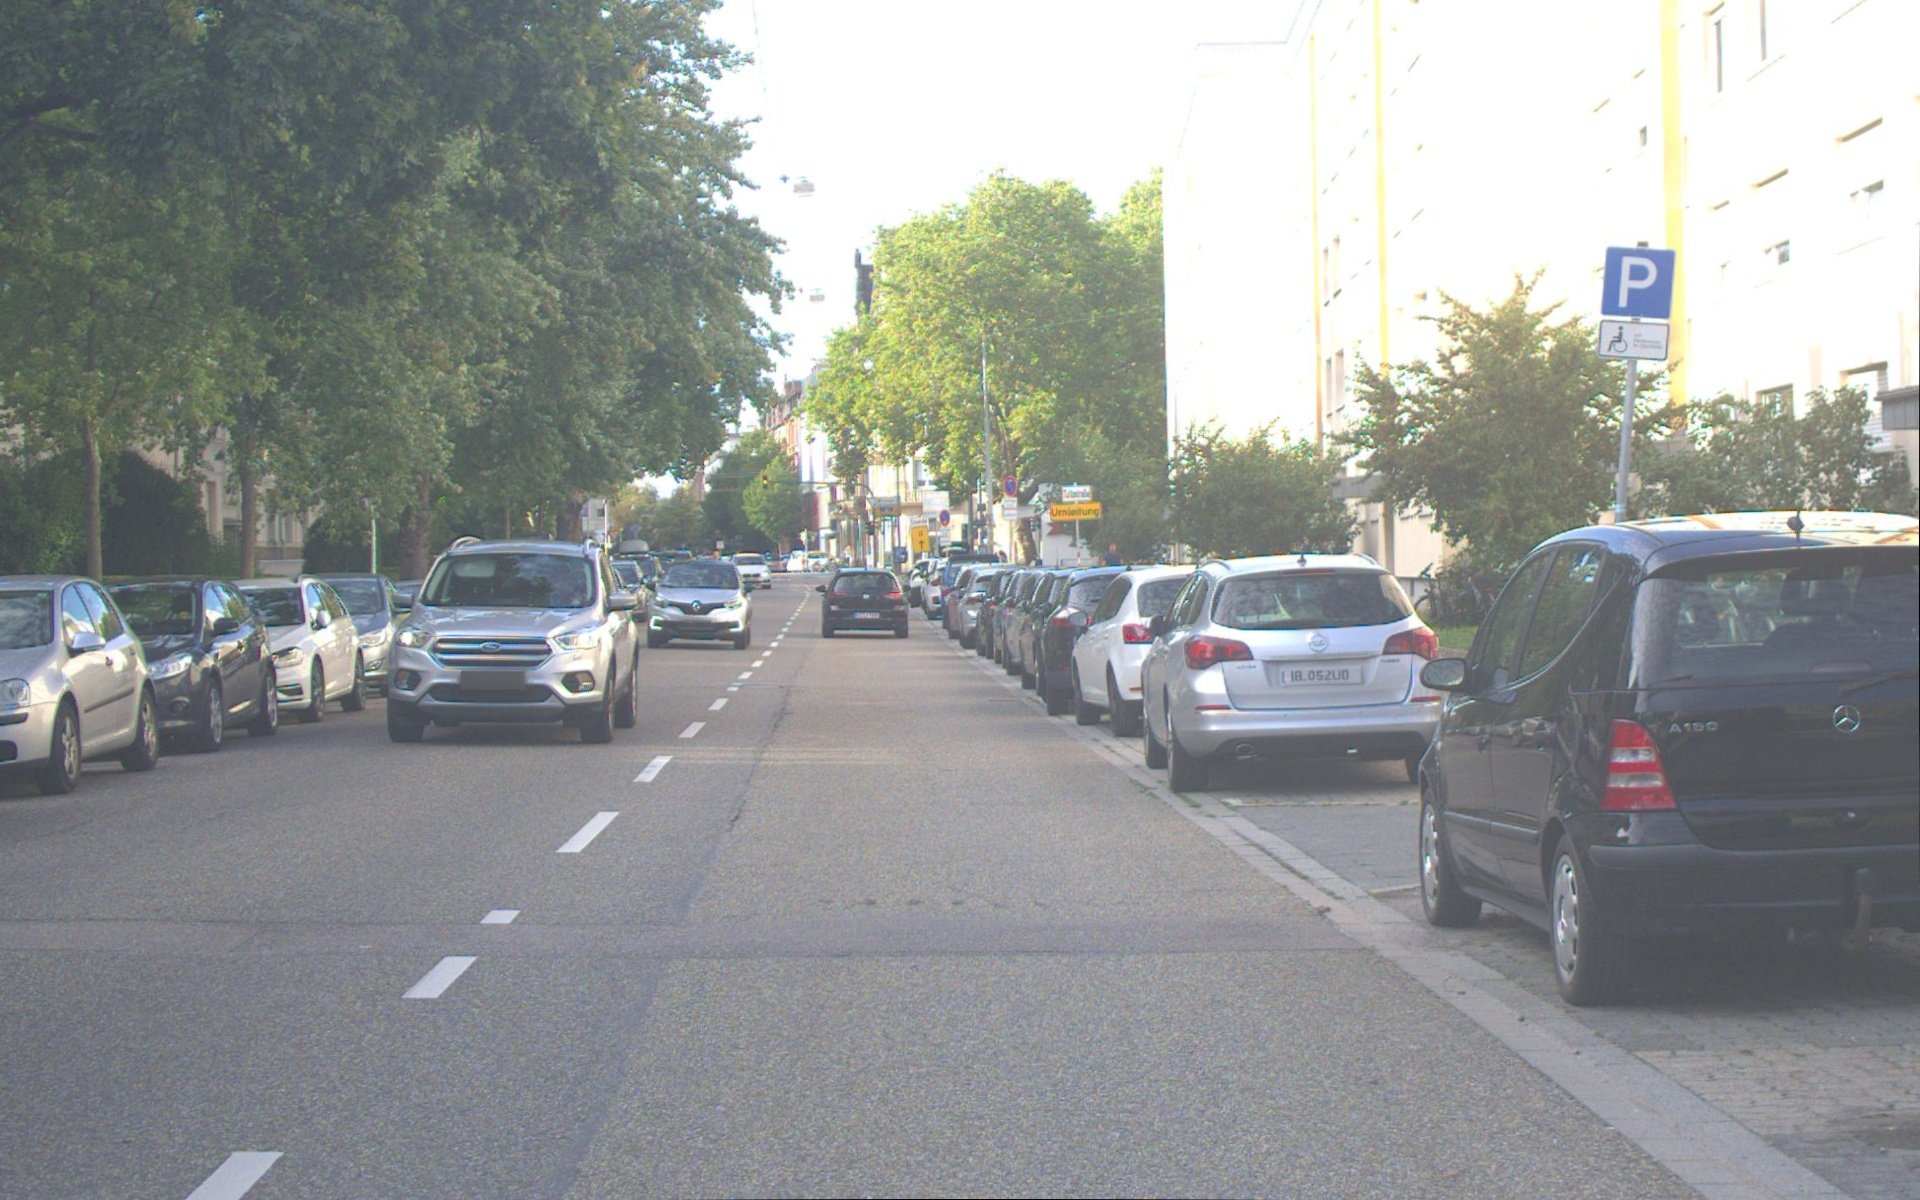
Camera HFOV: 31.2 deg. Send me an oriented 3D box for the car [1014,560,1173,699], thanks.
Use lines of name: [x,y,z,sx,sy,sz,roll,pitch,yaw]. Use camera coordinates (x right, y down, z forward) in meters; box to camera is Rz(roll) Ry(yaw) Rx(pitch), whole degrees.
car: [1.528,0.308,40.414,1.683,1.496,3.874,-2,1,0]

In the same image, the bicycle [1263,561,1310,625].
bicycle: [6.907,-0.160,72.792,0.595,1.286,2.635,-3,1,-2]

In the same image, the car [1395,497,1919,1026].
car: [2.679,0.466,12.559,1.673,1.597,3.970,-2,1,1]

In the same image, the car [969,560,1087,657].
car: [1.087,0.117,56.707,1.661,1.486,3.942,-2,1,-2]

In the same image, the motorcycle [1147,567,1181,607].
motorcycle: [5.386,-0.353,90.945,0.630,1.041,2.394,-2,1,-3]

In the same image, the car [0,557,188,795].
car: [-6.746,0.488,23.908,1.820,1.481,4.369,-3,1,-1]

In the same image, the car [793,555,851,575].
car: [-10.042,-2.540,250.525,3.986,1.415,2.001,-1,1,-9]

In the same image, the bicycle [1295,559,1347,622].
bicycle: [7.631,-0.203,72.813,0.726,1.286,2.635,-1,1,-2]

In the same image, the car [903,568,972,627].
car: [-0.594,-0.086,89.410,1.728,1.482,4.642,-1,1,-1]

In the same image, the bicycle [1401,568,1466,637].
bicycle: [7.406,0.030,53.828,0.593,1.027,2.119,-3,1,-2]

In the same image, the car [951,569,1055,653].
car: [0.754,0.179,62.987,1.661,1.411,4.059,-2,1,-2]

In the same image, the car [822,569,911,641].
car: [-1.956,0.085,71.140,1.751,1.409,4.001,0,1,-3]

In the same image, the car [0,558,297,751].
car: [-6.973,0.401,29.304,1.855,1.481,4.684,-1,1,-2]

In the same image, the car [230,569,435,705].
car: [-7.563,0.402,41.838,1.855,1.481,4.684,-2,1,-3]

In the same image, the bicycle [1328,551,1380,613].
bicycle: [8.343,-0.388,72.893,0.726,1.286,2.635,0,0,-2]

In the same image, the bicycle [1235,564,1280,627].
bicycle: [6.300,-0.106,72.798,0.604,1.286,2.635,-2,1,-2]

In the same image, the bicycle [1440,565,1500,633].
bicycle: [7.994,-0.021,53.949,0.501,1.027,2.096,-3,1,-2]

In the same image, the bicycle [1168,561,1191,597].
bicycle: [7.032,-0.680,110.241,0.529,1.111,2.209,-2,1,-2]

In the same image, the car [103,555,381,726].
car: [-7.145,0.348,34.689,1.855,1.481,4.799,-4,1,-2]

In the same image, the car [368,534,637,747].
car: [-3.819,0.300,29.320,1.829,1.663,4.085,-1,1,-2]

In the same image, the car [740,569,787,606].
car: [-8.572,-0.550,150.120,1.859,1.523,4.011,0,1,-1]

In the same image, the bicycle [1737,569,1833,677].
bicycle: [8.557,0.246,35.709,0.521,1.071,1.591,-2,-1,-2]

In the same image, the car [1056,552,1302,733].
car: [1.894,0.326,30.876,1.683,1.463,4.207,-2,1,-3]

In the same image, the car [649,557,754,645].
car: [-4.597,-0.005,61.564,1.740,1.496,4.010,-1,1,-3]

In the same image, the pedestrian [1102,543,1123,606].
pedestrian: [4.231,-0.718,95.444,0.542,1.715,0.771,-2,0,3]

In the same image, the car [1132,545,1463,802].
car: [2.162,0.417,23.083,1.763,1.518,4.330,-2,1,0]

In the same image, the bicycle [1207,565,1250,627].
bicycle: [5.666,-0.091,72.772,0.604,1.286,2.635,-1,1,-2]

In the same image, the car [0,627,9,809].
car: [-6.604,0.577,18.504,1.927,1.481,4.421,-3,1,-4]

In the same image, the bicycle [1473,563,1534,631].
bicycle: [8.515,-0.057,53.958,0.501,1.027,2.069,-3,1,-2]

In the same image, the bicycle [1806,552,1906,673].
bicycle: [9.278,0.140,35.634,0.521,1.211,1.591,-2,-1,-2]

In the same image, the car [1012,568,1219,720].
car: [1.560,0.408,35.775,1.683,1.430,4.207,-2,1,-3]

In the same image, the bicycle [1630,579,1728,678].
bicycle: [7.445,0.303,35.653,0.596,0.994,1.692,0,-1,-2]

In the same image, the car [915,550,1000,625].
car: [-0.073,-0.298,79.091,1.728,1.644,4.117,-2,1,-3]

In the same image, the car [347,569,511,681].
car: [-7.459,0.311,48.665,1.738,1.388,4.666,-3,1,-3]

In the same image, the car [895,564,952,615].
car: [-1.146,-0.346,109.652,1.690,1.523,4.237,2,1,1]
